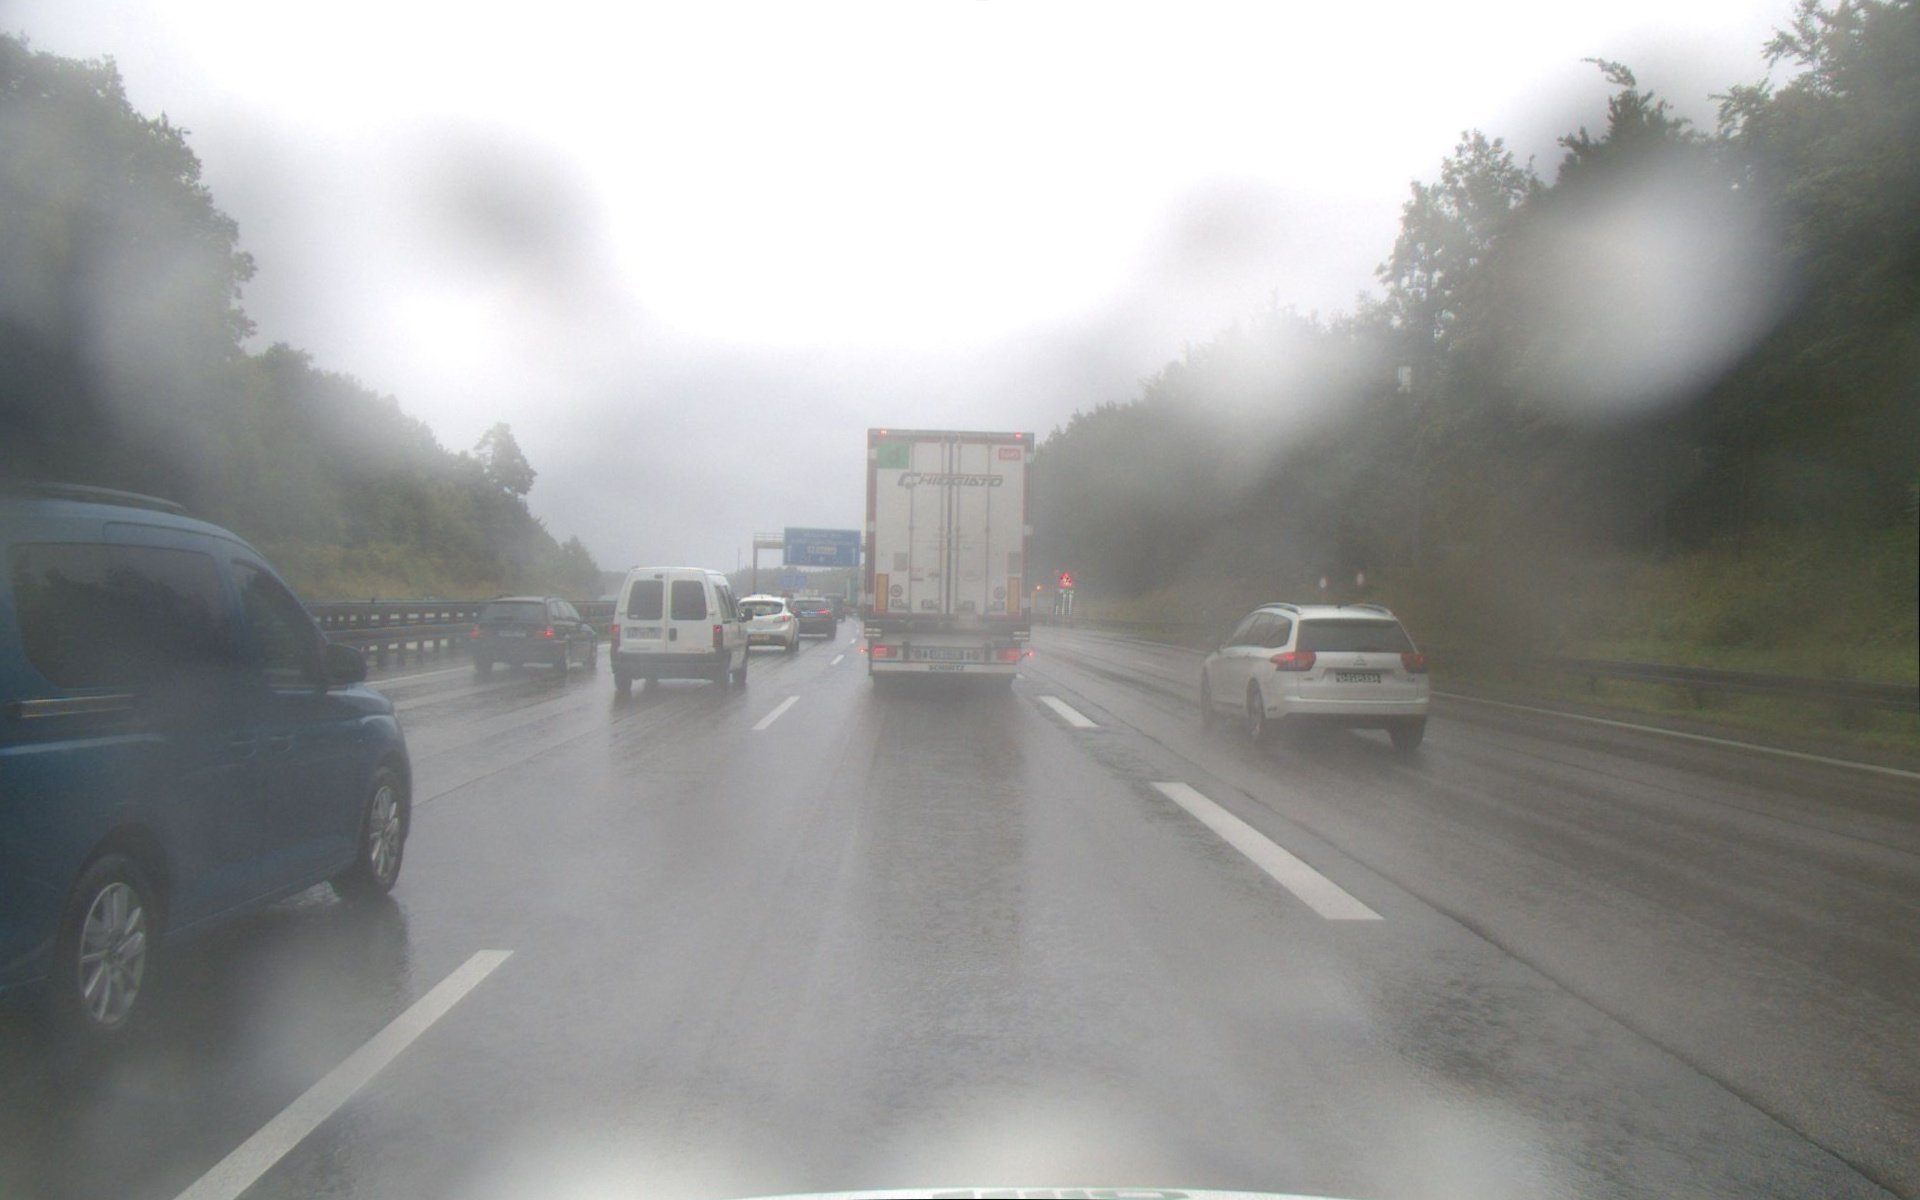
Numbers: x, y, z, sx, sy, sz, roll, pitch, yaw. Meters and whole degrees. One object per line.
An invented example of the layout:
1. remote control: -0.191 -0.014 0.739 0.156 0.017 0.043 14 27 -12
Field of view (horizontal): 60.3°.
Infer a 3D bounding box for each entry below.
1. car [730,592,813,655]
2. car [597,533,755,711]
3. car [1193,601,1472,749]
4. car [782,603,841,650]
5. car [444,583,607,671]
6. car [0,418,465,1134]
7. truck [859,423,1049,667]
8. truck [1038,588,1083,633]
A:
1. car: -5.075 0.607 45.004 1.808 1.619 4.071 1 0 -1
2. car: -4.557 0.322 27.259 2.170 2.618 5.009 1 0 -6
3. car: 4.016 0.746 18.667 1.966 1.418 4.566 1 0 -2
4. car: -5.427 0.933 60.795 1.808 1.619 4.465 1 0 -1
5. car: -8.268 0.467 31.922 2.048 1.531 4.752 1 0 -3
6. car: -3.710 0.455 6.119 2.223 1.945 5.015 1 0 0
7. truck: -0.263 -0.784 30.649 2.814 3.624 11.297 1 0 -2
8. truck: 6.828 0.681 113.389 2.536 2.992 6.455 1 0 -1
